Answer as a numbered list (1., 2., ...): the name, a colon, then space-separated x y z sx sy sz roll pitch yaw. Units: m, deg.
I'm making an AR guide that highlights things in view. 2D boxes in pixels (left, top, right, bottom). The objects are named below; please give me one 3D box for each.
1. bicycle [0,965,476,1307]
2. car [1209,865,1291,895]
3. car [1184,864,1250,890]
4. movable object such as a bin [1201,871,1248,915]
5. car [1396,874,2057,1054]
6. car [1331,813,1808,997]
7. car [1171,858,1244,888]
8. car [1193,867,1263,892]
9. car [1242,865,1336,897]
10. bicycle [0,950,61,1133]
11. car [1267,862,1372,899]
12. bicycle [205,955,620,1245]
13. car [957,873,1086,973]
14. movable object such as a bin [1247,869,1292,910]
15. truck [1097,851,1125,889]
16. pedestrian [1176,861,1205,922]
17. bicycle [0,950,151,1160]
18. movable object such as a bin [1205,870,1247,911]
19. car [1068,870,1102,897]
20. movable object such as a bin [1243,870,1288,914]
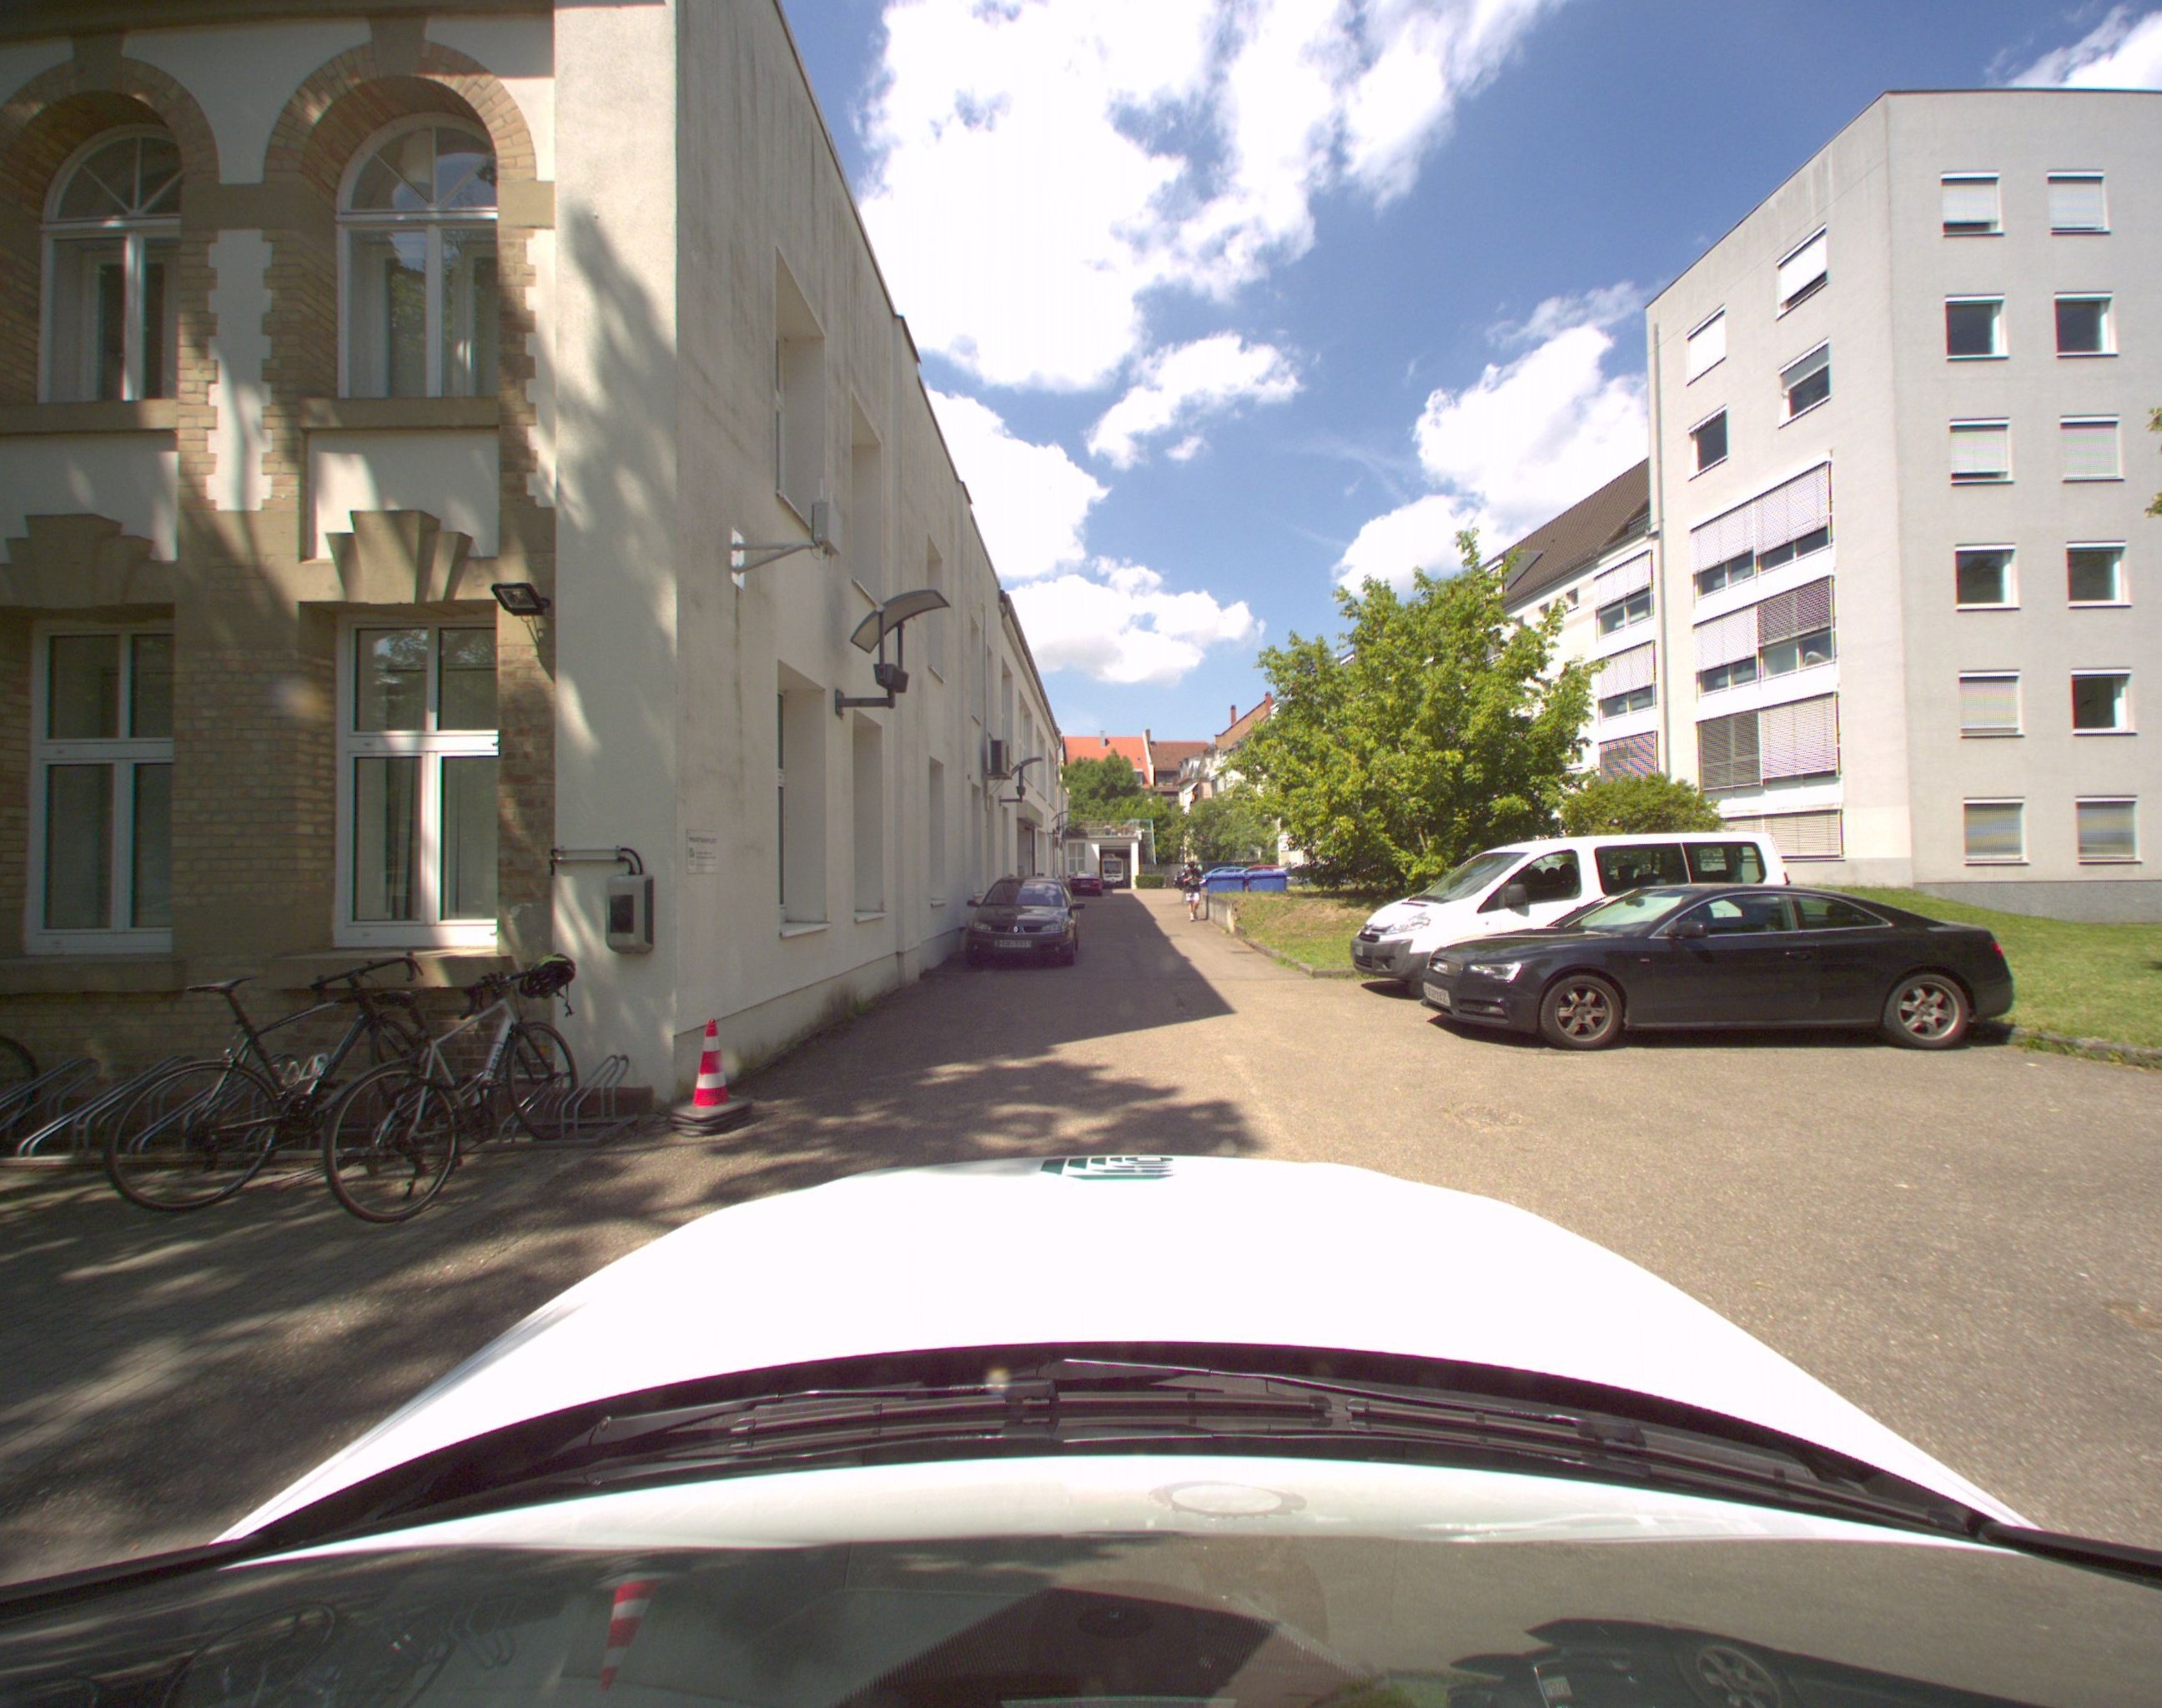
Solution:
1. bicycle: -4.174 1.178 3.992 0.603 0.958 2.262 -1 0 4
2. car: 8.949 1.382 43.395 3.974 1.478 1.804 -1 -1 -1
3. car: 8.808 1.487 53.021 3.974 1.534 1.804 -1 -1 -1
4. movable object such as a bin: 4.557 1.231 25.905 1.333 1.327 1.162 -1 -1 4
5. car: 5.549 0.914 7.492 4.594 1.352 1.834 -1 0 1
6. car: 5.820 0.603 10.223 4.742 2.014 2.000 -1 -1 1
7. car: 8.644 1.307 56.070 4.663 1.958 2.076 -1 -1 -1
8. car: 8.978 1.532 50.036 3.974 1.390 1.804 -1 -1 -1
9. car: 9.804 1.275 38.588 3.974 1.390 1.804 -1 -1 -1
10. bicycle: -6.937 1.158 4.127 0.603 1.082 2.262 -1 0 4
11. car: 10.232 1.117 35.067 3.974 1.478 1.804 -1 -1 -1
12. bicycle: -3.198 1.103 4.159 0.609 0.958 1.731 -1 0 4
13. car: -0.897 1.100 14.539 1.747 1.430 4.389 -1 0 3
14. movable object such as a bin: 6.373 1.188 27.574 1.212 1.327 1.160 -1 -1 0
15. truck: 2.335 1.270 65.269 1.784 2.937 4.647 -1 -1 -3
16. pedestrian: 3.179 1.073 23.717 0.754 1.755 0.752 -1 -1 2
17. bicycle: -6.301 1.152 4.072 0.603 1.082 2.262 -1 0 4
18. movable object such as a bin: 4.896 1.234 27.643 1.189 1.327 1.160 -1 -1 0
19. car: 0.255 1.628 46.189 1.792 1.390 4.000 -1 -1 1
20. movable object such as a bin: 5.848 1.191 25.904 1.211 1.327 1.162 -1 -1 4
